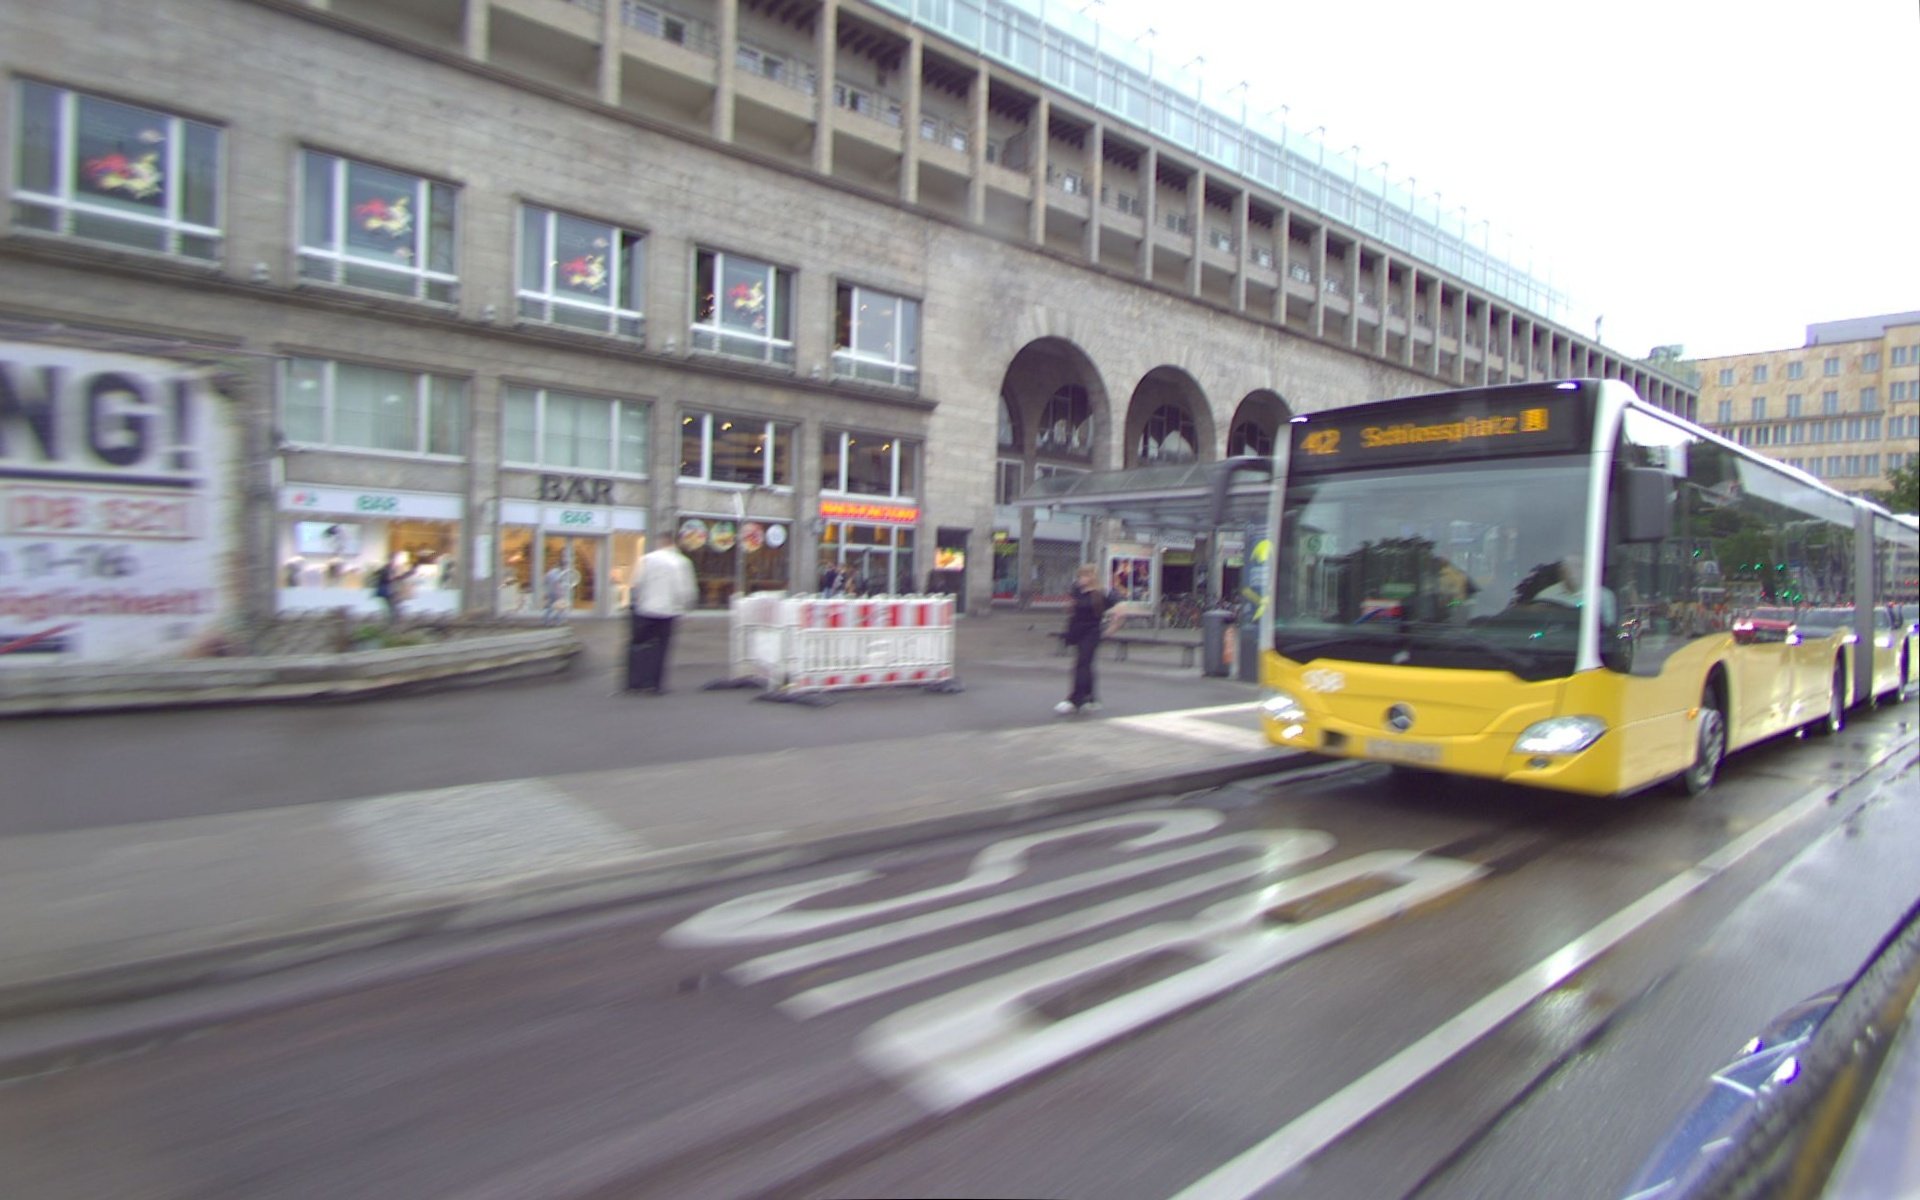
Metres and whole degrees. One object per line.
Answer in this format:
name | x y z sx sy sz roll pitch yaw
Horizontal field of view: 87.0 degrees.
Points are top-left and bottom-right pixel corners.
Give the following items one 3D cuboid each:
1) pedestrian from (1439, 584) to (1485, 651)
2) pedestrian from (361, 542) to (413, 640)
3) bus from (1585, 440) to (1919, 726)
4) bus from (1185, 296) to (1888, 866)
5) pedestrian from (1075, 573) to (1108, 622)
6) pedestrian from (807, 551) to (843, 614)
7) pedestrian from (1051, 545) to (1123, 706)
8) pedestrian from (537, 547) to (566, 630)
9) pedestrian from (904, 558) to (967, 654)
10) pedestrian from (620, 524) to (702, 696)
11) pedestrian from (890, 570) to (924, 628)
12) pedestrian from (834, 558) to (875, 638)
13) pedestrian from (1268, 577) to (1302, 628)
pedestrian | 13.183 0.451 26.591 0.885 1.716 0.751 1 0 -36
pedestrian | -10.878 -0.182 19.209 0.774 1.814 0.655 1 1 -35
bus | 13.144 -0.233 15.740 8.972 3.288 3.148 0 0 -40
bus | 6.257 -0.149 9.917 9.079 3.245 3.119 0 0 -41
pedestrian | 4.431 -0.102 34.151 0.973 1.609 0.789 1 1 -3
pedestrian | -3.964 -0.517 29.755 0.973 1.815 0.789 1 1 -3
pedestrian | 1.340 0.252 10.679 0.592 1.639 0.504 0 0 40
pedestrian | -9.718 -0.266 24.062 0.576 1.953 0.474 1 1 -25
pedestrian | -0.483 0.105 19.886 0.981 1.815 0.783 1 1 22
pedestrian | -3.314 0.099 11.181 0.741 1.815 0.736 1 1 -25
pedestrian | -1.437 -0.043 27.470 0.682 1.540 0.585 2 1 26
pedestrian | -2.640 -0.054 25.419 0.781 1.953 0.649 2 1 26
pedestrian | 10.703 0.058 33.321 0.792 1.639 0.859 2 1 40
